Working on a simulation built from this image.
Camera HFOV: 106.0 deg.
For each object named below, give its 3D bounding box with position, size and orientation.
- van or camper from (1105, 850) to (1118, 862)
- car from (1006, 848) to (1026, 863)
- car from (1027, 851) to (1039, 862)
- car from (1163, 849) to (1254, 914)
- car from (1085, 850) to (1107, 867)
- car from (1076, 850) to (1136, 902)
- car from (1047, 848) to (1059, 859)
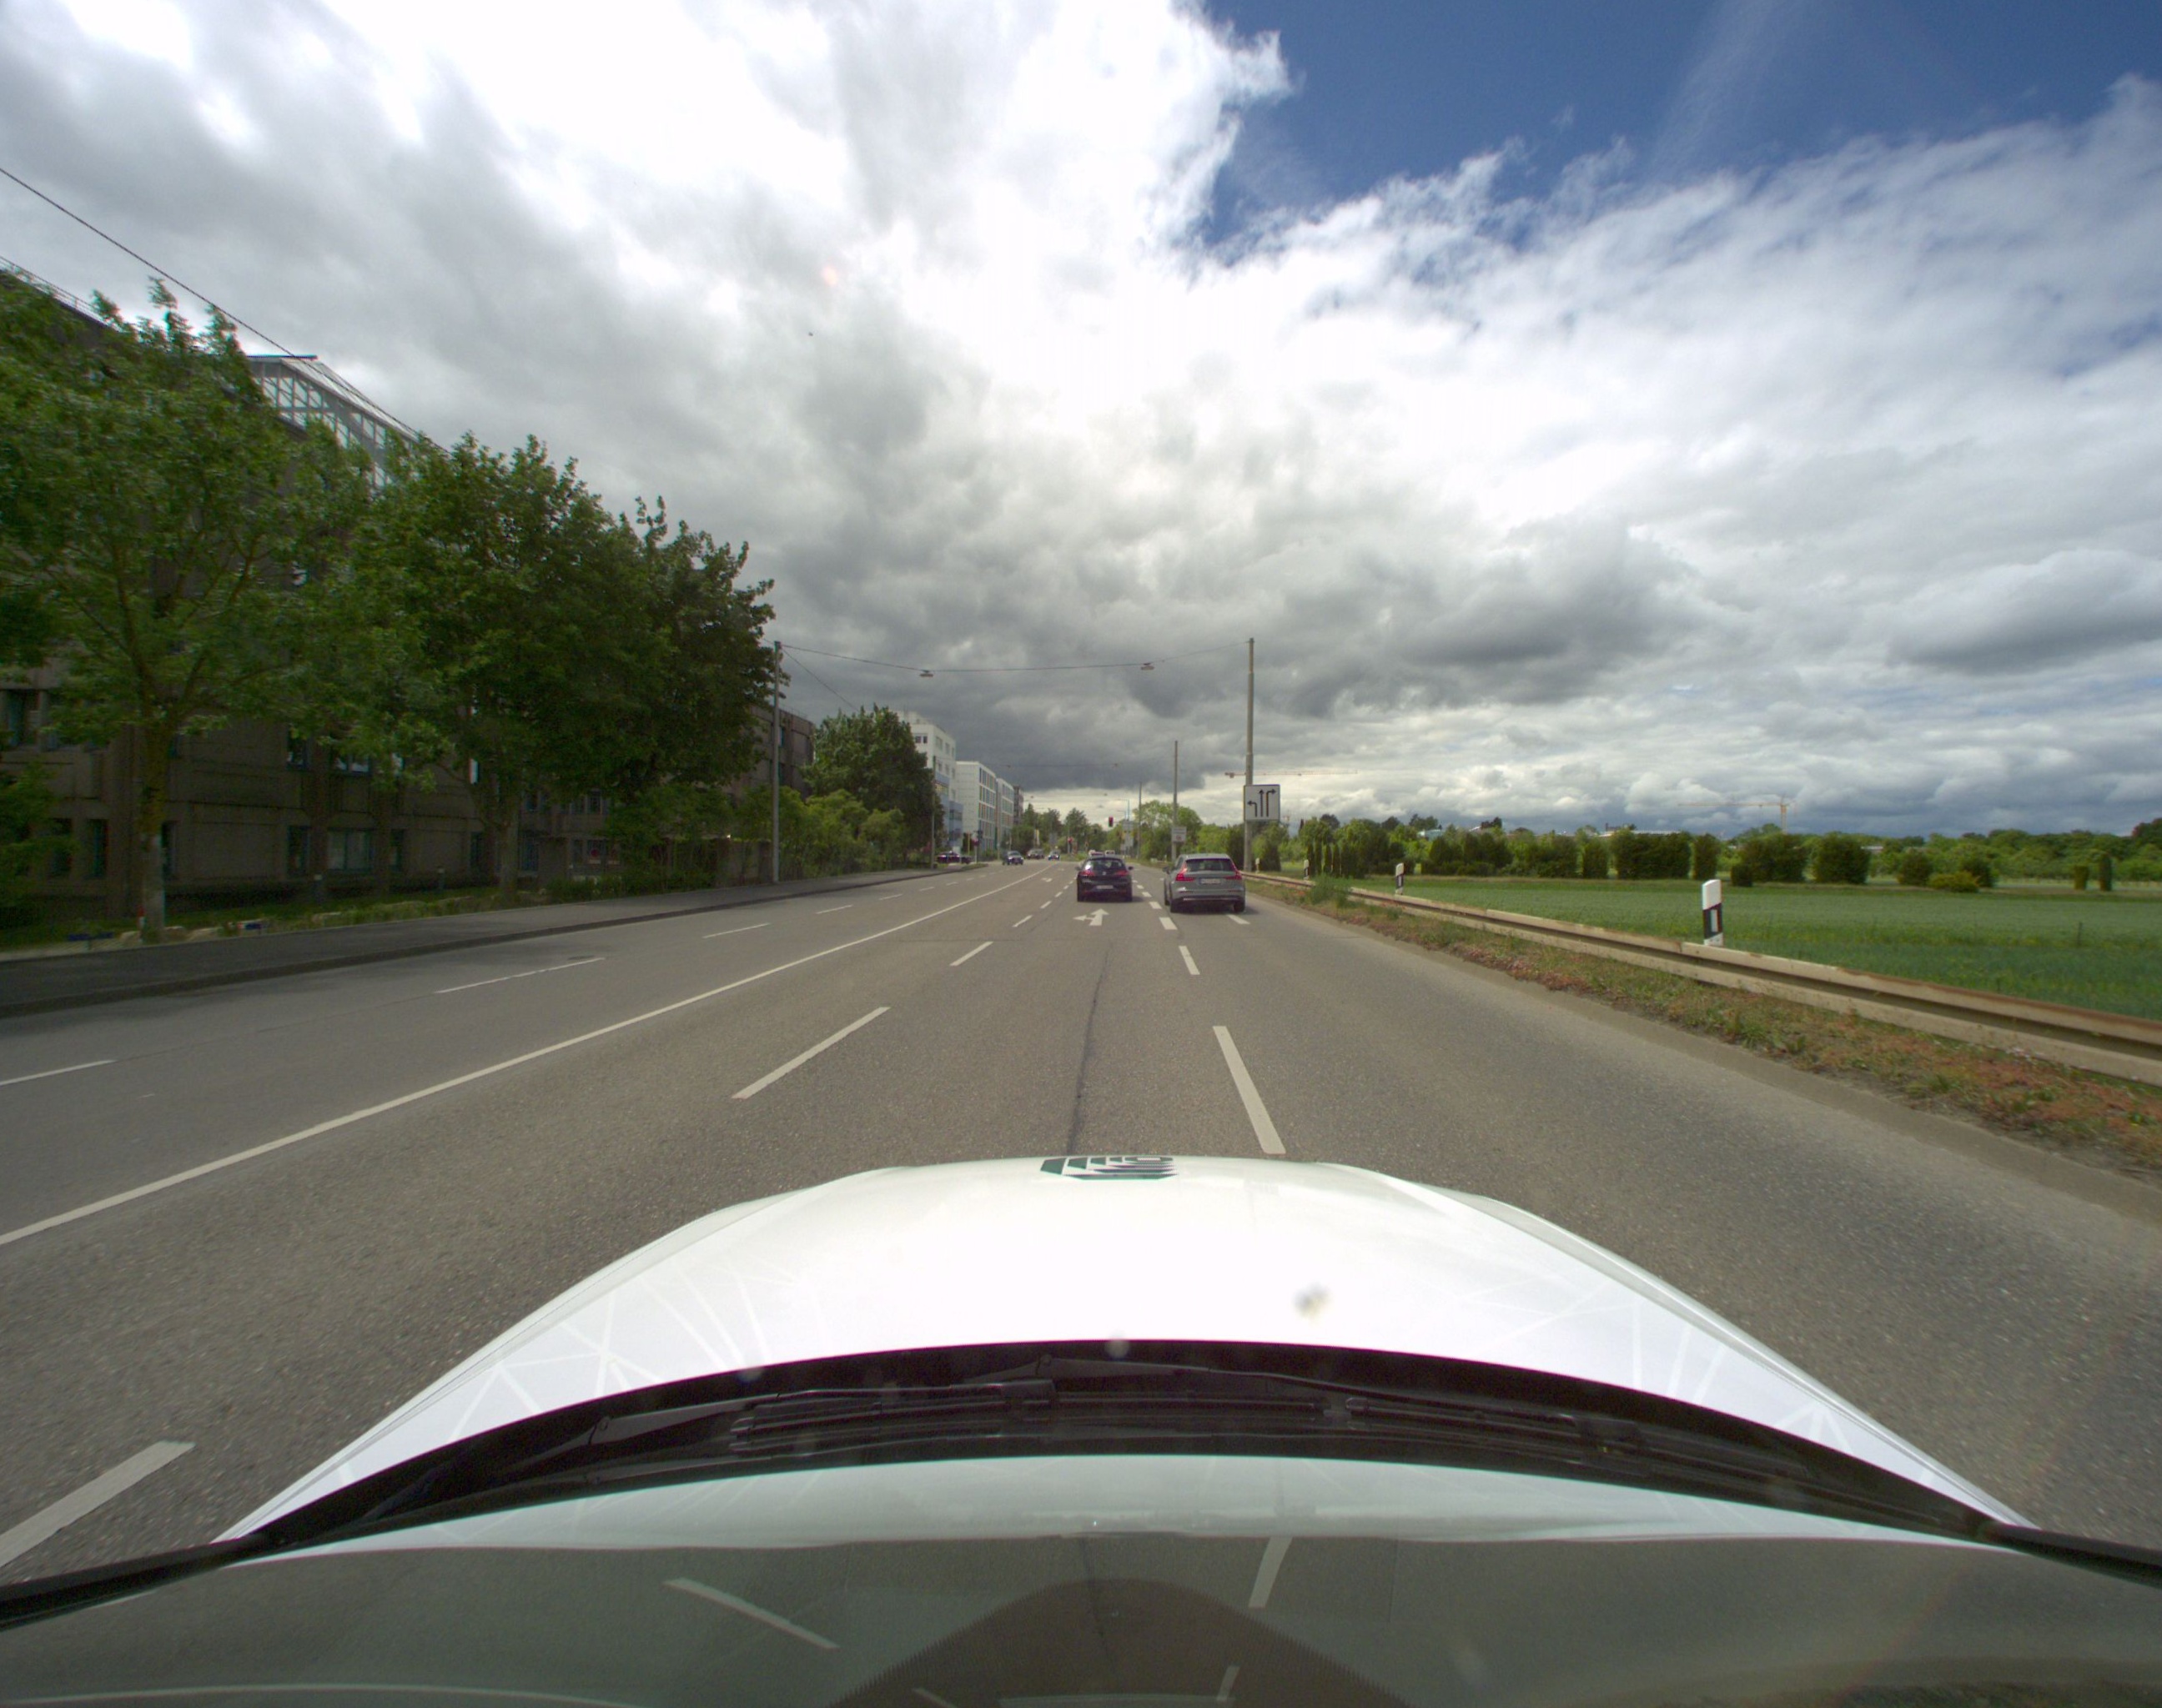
[{"bbox_3d":[5.431,0.323,145.130,1.895,1.926,3.995,3,-2,-3],"label":"van or camper"},{"bbox_3d":[-7.339,0.191,92.402,1.790,1.585,4.312,3,0,0],"label":"car"},{"bbox_3d":[-7.914,0.404,134.706,1.746,1.631,3.999,-1,0,-1],"label":"car"},{"bbox_3d":[3.271,0.676,21.644,1.950,1.525,4.343,-1,0,3],"label":"car"},{"bbox_3d":[1.453,0.399,81.426,1.978,1.590,4.224,1,1,-1],"label":"car"},{"bbox_3d":[0.868,0.670,26.448,1.740,1.484,4.003,2,0,3],"label":"car"},{"bbox_3d":[-4.562,-0.091,133.008,1.663,1.524,4.007,-1,1,0],"label":"car"}]
